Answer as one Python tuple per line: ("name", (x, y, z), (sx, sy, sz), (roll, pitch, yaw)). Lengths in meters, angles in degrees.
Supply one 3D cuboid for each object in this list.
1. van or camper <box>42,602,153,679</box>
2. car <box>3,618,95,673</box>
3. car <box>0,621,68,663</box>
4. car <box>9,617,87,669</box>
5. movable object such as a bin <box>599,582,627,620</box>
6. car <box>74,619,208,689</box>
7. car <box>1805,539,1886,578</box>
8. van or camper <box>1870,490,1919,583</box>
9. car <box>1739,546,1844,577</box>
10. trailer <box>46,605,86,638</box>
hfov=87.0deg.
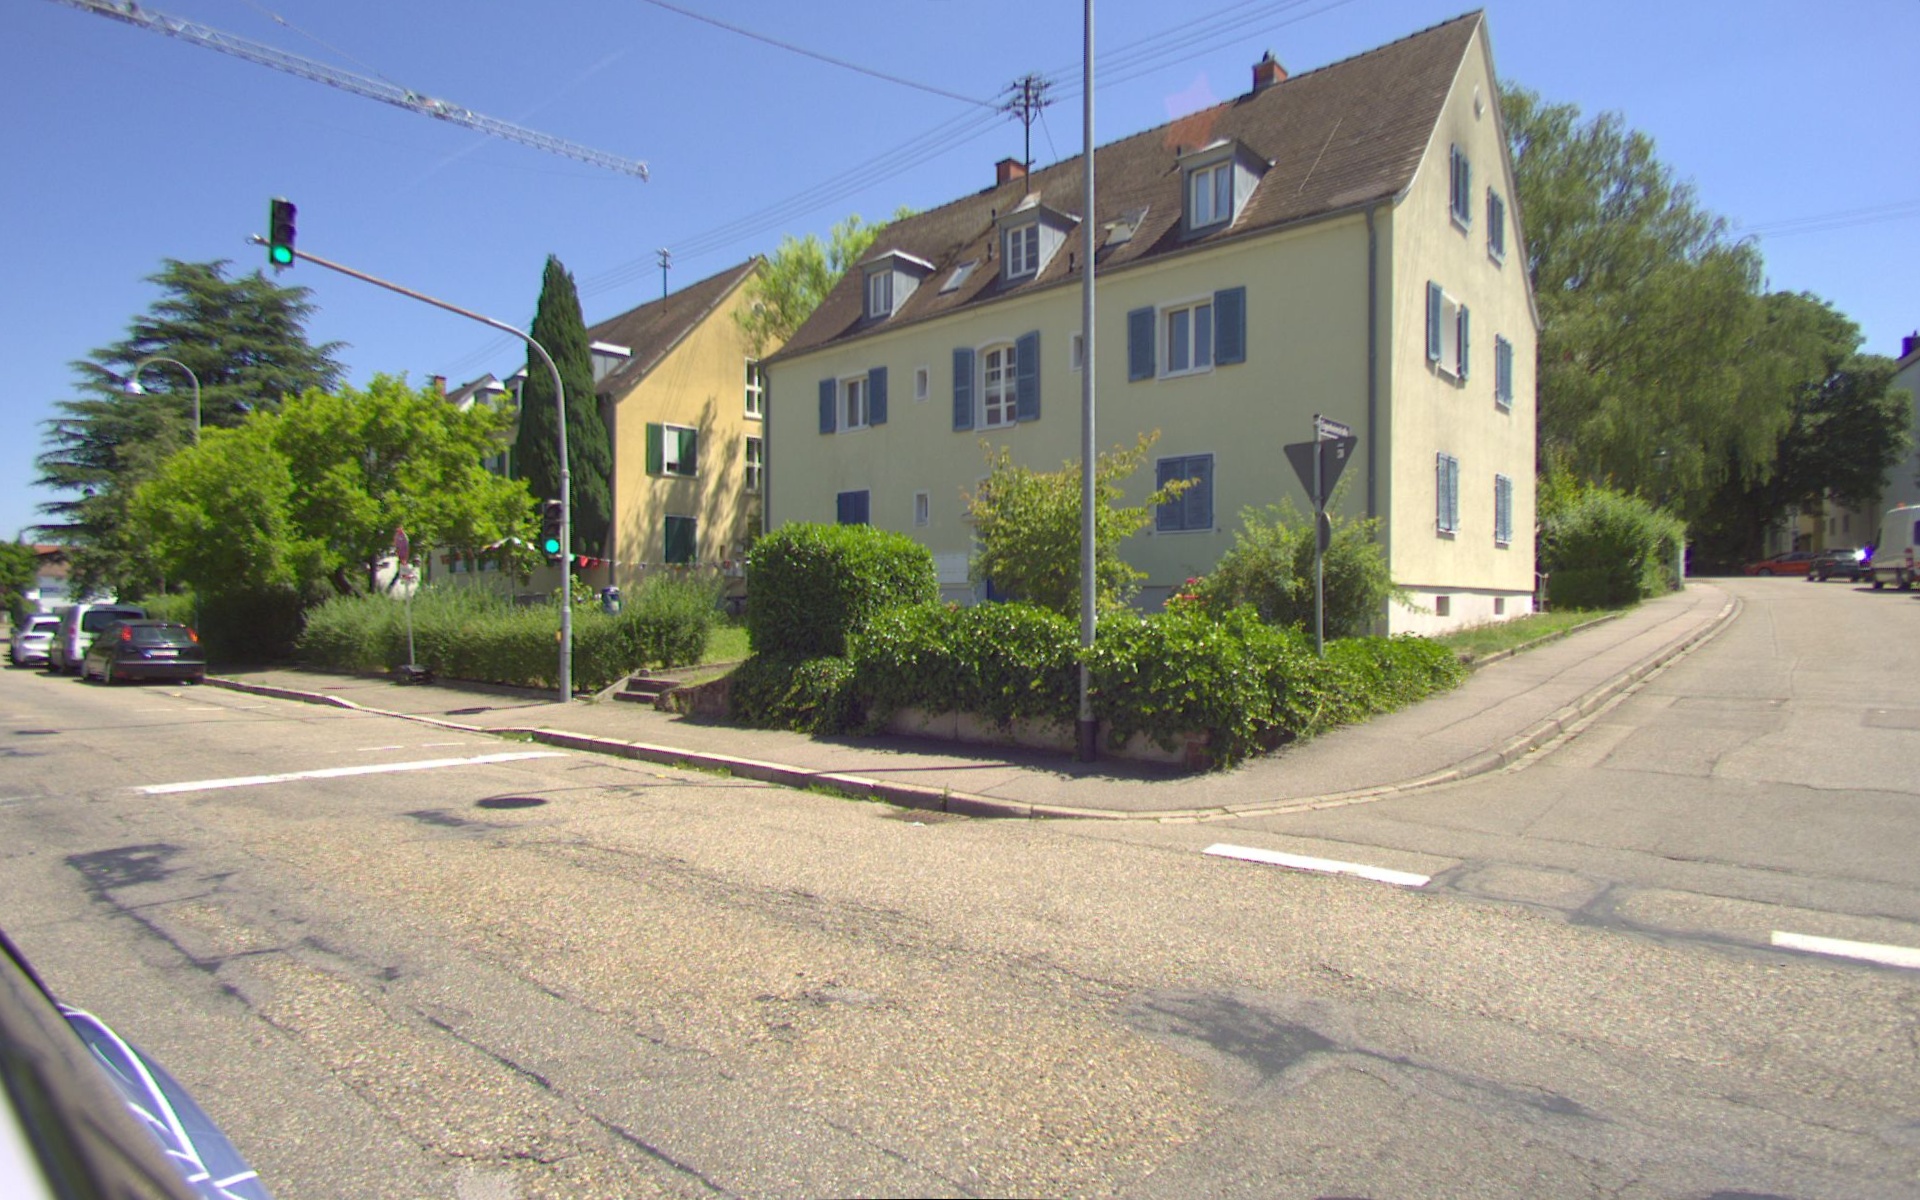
("van or camper", (-22.132, 0.998, 25.922), (3.985, 1.818, 1.663), (-1, -3, 43))
("car", (-26.312, 1.274, 29.185), (4.249, 1.452, 1.662), (-1, -3, 45))
("car", (-34.752, 1.555, 37.930), (4.332, 1.487, 1.662), (-1, -3, 45))
("car", (-30.975, 1.413, 34.326), (4.332, 1.649, 1.662), (-1, -3, 45))
("movable object such as a bin", (-11.218, 0.038, 32.713), (0.674, 1.205, 0.614), (-1, -1, 43))
("car", (-18.493, 1.171, 22.807), (3.924, 1.423, 1.663), (-1, -3, 41))
("car", (36.127, -1.662, 41.381), (1.726, 1.467, 3.183), (-2, 1, 27))
("van or camper", (30.122, -1.916, 31.310), (1.993, 2.731, 5.312), (-1, 1, 32))
("car", (44.207, -2.018, 53.933), (3.982, 1.487, 1.981), (-1, 1, 28))
("trailer", (-59.099, 1.446, 66.917), (1.791, 2.049, 4.006), (4, -3, -40))
